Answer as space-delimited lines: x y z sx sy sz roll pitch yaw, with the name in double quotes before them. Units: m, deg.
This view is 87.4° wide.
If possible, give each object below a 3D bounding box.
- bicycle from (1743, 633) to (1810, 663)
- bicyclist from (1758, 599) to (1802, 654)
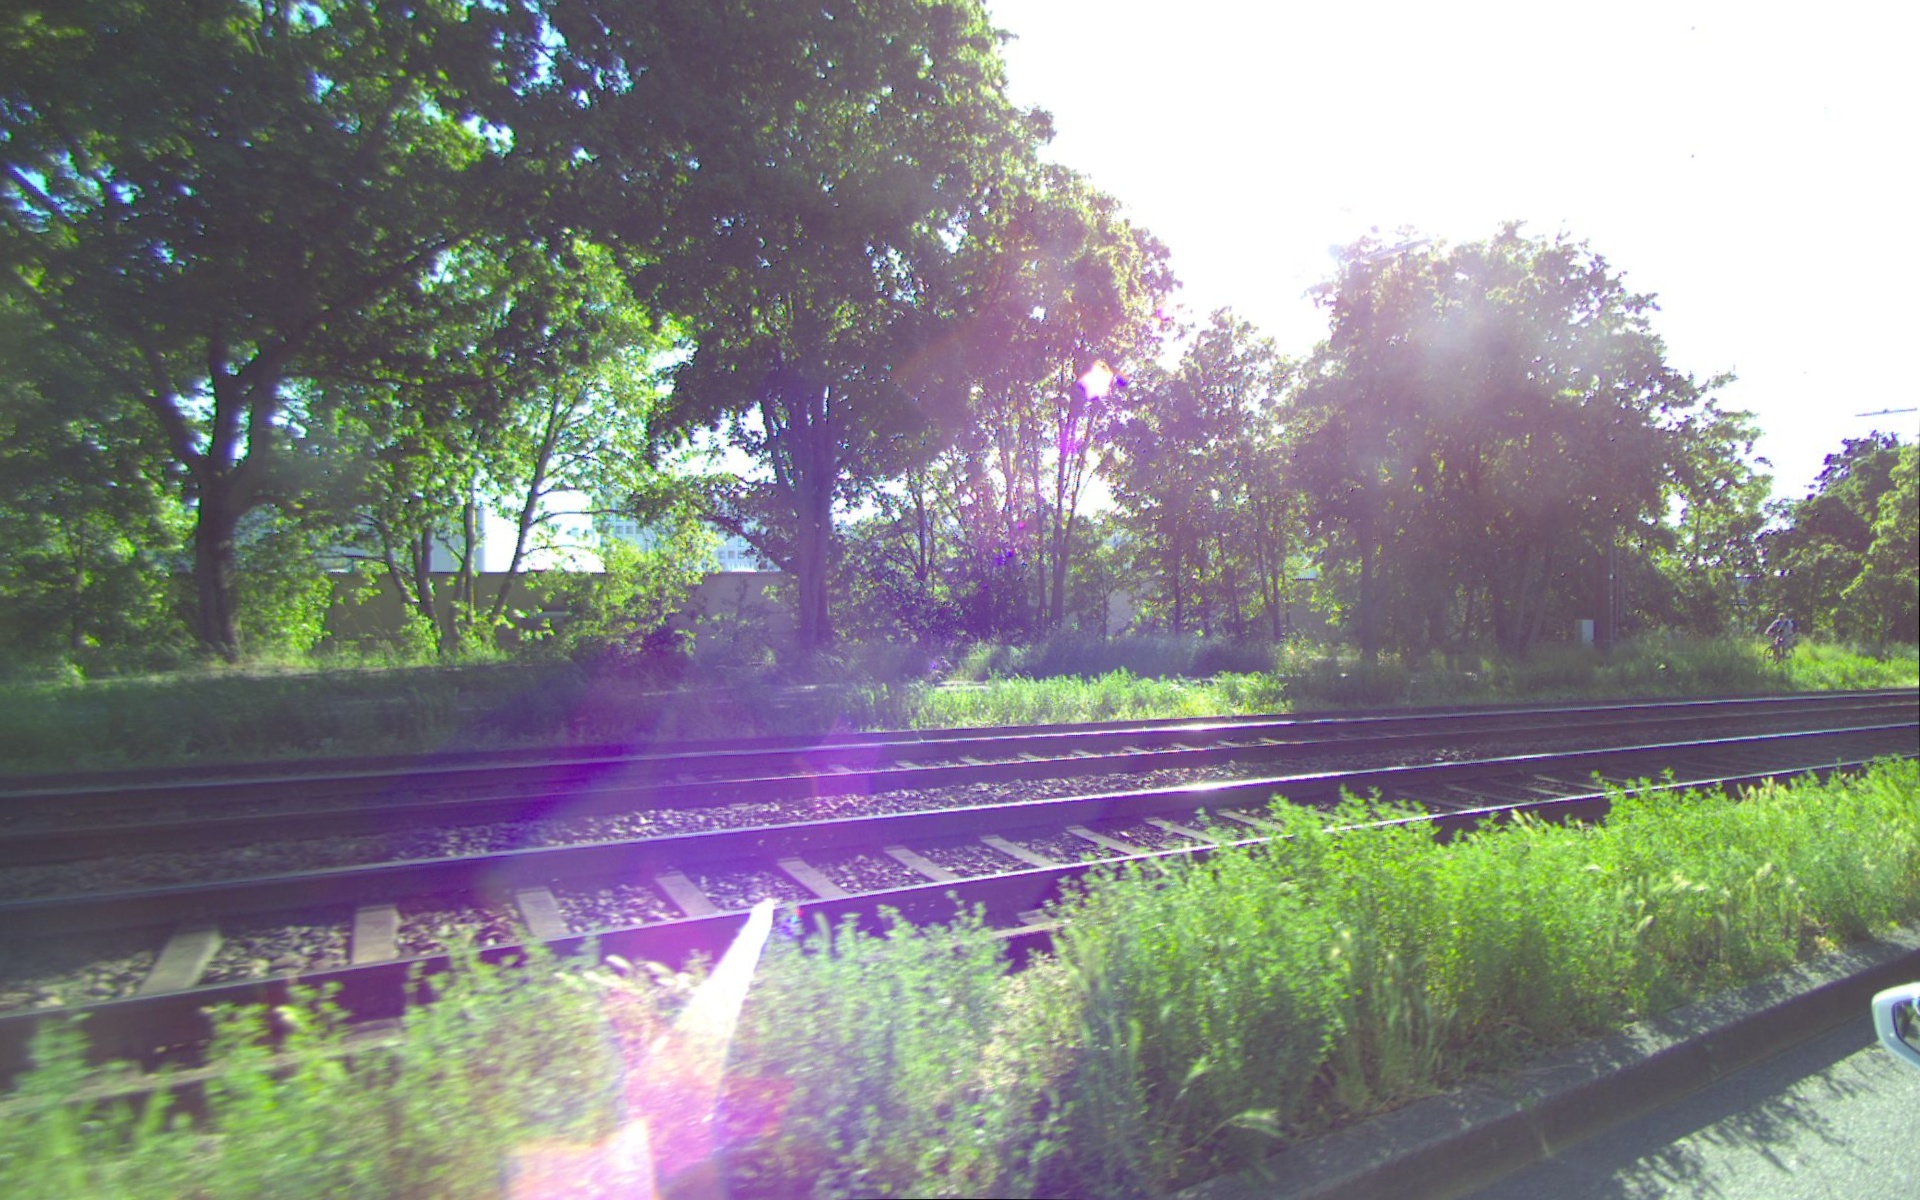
"bicycle" 27.144 1.592 33.398 2.506 0.926 0.815 1 0 -28
"bicyclist" 27.300 0.878 33.464 0.891 1.759 0.816 1 1 -28
